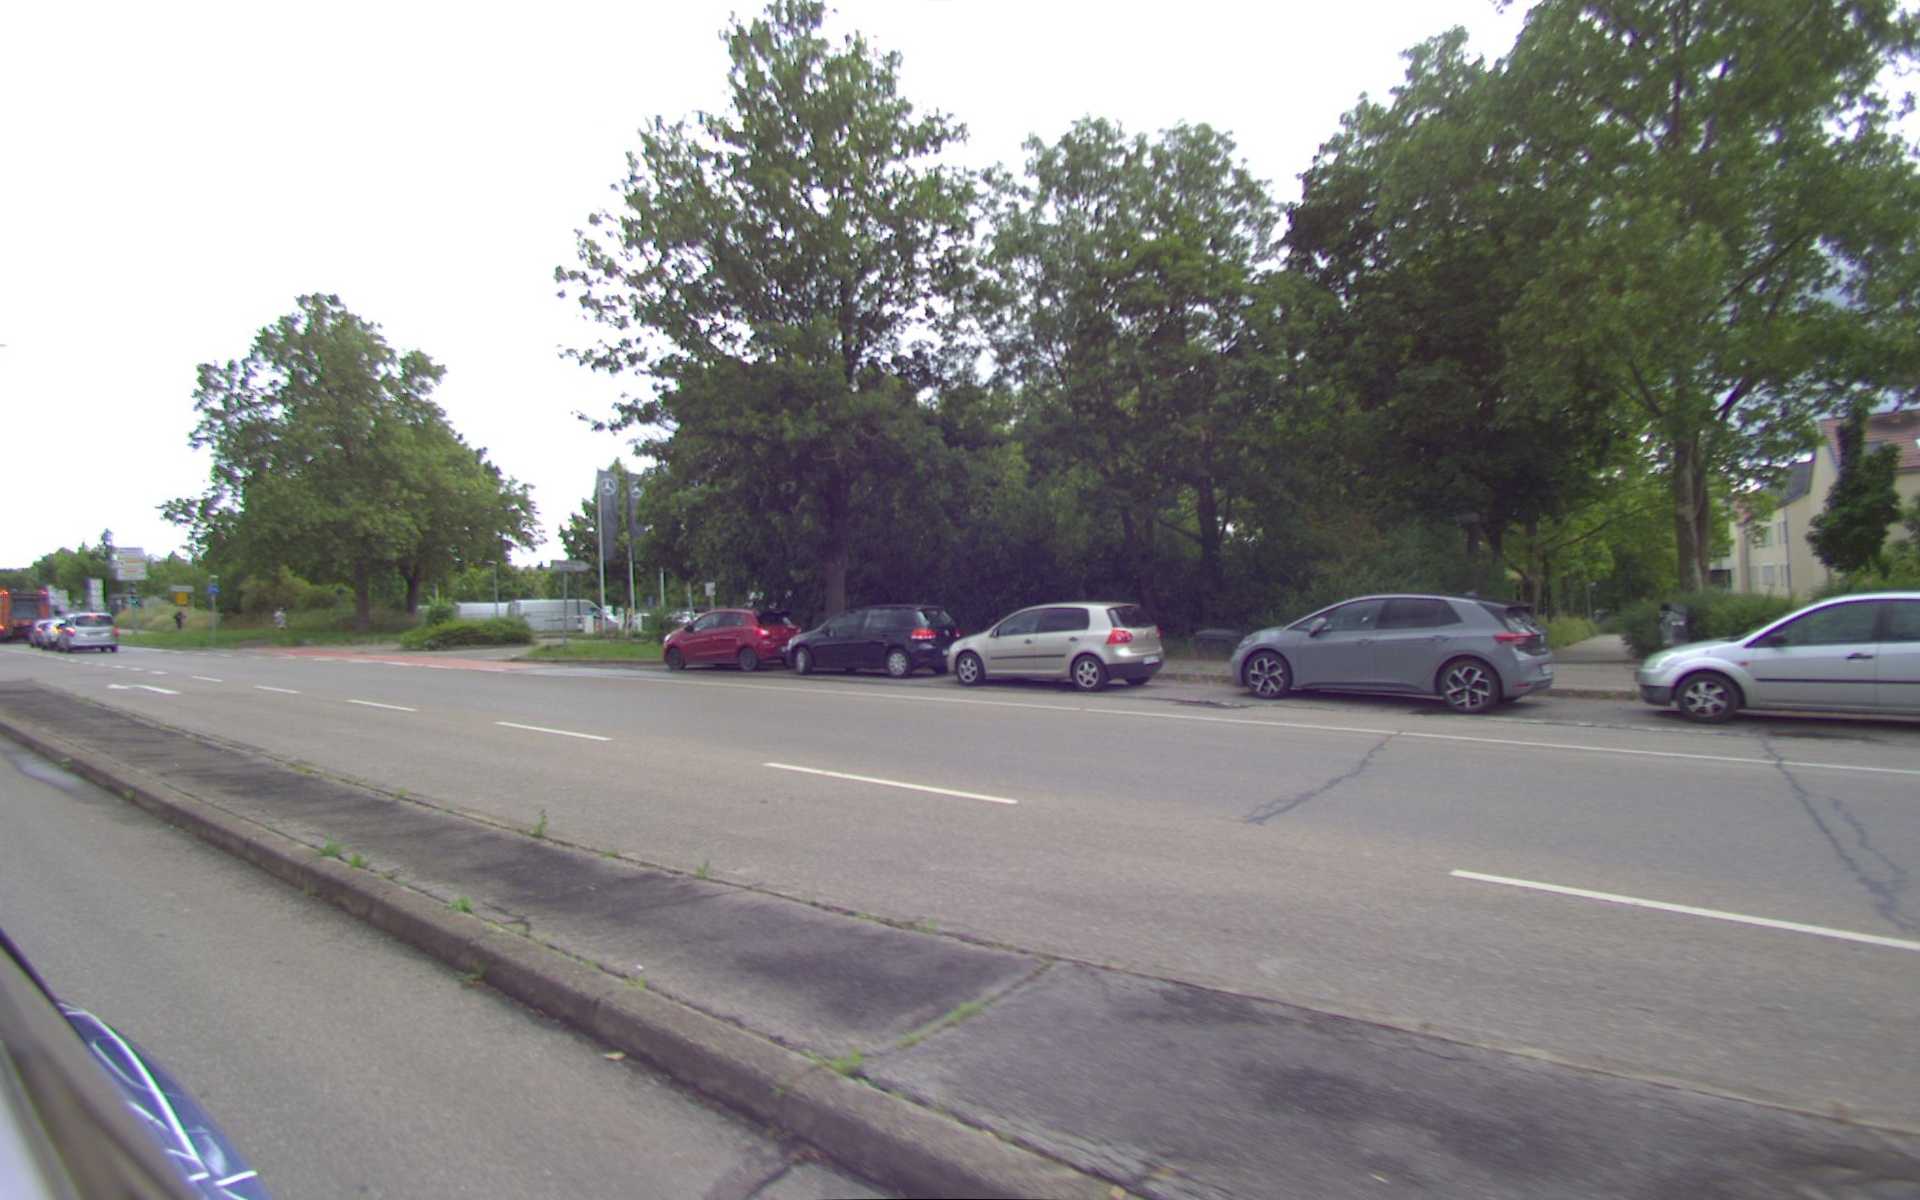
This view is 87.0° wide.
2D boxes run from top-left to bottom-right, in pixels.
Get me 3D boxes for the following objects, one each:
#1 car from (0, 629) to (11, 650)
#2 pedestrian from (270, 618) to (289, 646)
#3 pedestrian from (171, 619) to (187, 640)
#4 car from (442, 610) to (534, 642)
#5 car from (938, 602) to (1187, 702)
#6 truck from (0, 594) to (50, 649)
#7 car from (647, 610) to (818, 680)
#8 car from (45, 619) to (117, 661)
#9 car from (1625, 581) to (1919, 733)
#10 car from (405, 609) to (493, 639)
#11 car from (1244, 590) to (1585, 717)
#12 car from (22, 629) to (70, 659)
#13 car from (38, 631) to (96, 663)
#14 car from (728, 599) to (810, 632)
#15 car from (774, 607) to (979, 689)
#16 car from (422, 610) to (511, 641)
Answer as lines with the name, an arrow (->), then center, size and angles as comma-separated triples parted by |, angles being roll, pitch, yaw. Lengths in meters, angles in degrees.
car -> -74.160, 3.047, 77.836 | 3.353, 1.630, 1.570 | -2, -1, 45
pedestrian -> -43.161, 2.007, 64.206 | 0.637, 1.750, 0.749 | -1, 1, 32
pedestrian -> -57.403, 2.151, 74.375 | 0.639, 1.458, 0.747 | -1, 1, 41
car -> -31.206, 1.684, 67.041 | 1.739, 2.029, 5.229 | -1, -1, 41
car -> 1.745, 0.857, 17.971 | 4.053, 1.518, 1.856 | -1, 0, 40
truck -> -63.148, 1.431, 67.764 | 7.826, 3.507, 2.793 | -1, -1, 45
car -> -5.516, 1.062, 24.430 | 3.878, 1.518, 1.860 | -2, 0, 34
car -> -40.541, 1.822, 46.653 | 4.403, 1.783, 1.810 | -2, 0, 40
car -> 9.848, 0.571, 11.111 | 3.999, 1.518, 1.855 | -2, -1, 42
car -> -35.740, 1.665, 70.893 | 1.738, 2.029, 5.231 | -1, -1, 39
car -> 6.320, 0.687, 14.316 | 3.999, 1.518, 1.855 | -2, 0, 42
car -> -50.717, 2.438, 56.141 | 3.350, 1.574, 1.618 | -2, -1, 42
car -> -44.991, 2.344, 50.966 | 4.121, 1.497, 1.710 | -2, -2, 42
car -> -15.709, 1.252, 83.571 | 1.999, 2.431, 6.866 | -1, 1, 41
car -> -1.796, 0.973, 21.419 | 3.986, 1.518, 1.861 | -1, 1, 32
car -> -33.719, 1.732, 69.322 | 1.738, 2.029, 5.231 | -1, -1, 39
